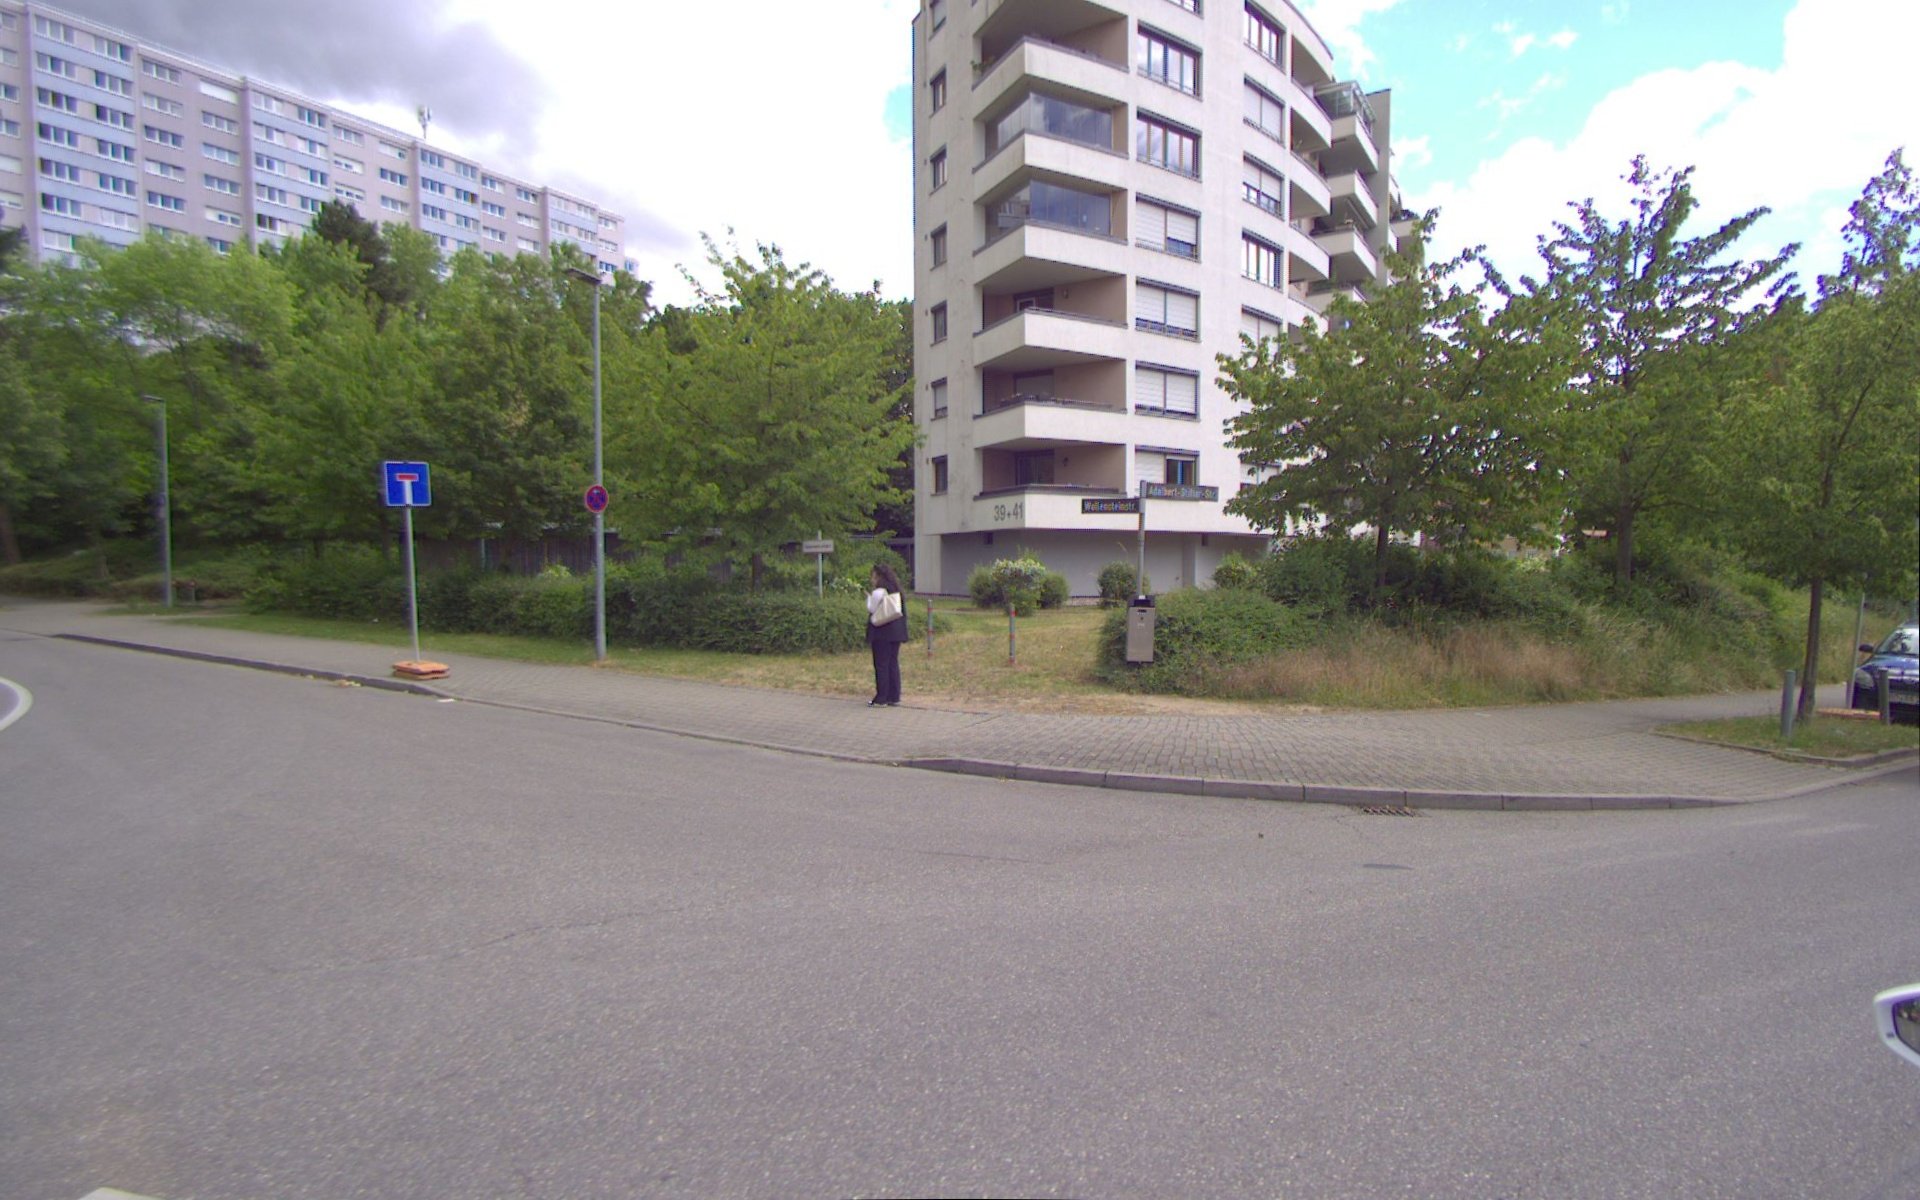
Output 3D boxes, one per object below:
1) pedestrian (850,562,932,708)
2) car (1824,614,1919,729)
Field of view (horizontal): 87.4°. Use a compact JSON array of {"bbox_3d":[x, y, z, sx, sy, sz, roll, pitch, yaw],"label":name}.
[{"bbox_3d":[-0.800,0.381,11.773,0.624,1.633,0.717,1,3,36],"label":"pedestrian"},{"bbox_3d":[14.790,1.027,15.045,3.910,1.508,1.680,1,4,-33],"label":"car"}]
